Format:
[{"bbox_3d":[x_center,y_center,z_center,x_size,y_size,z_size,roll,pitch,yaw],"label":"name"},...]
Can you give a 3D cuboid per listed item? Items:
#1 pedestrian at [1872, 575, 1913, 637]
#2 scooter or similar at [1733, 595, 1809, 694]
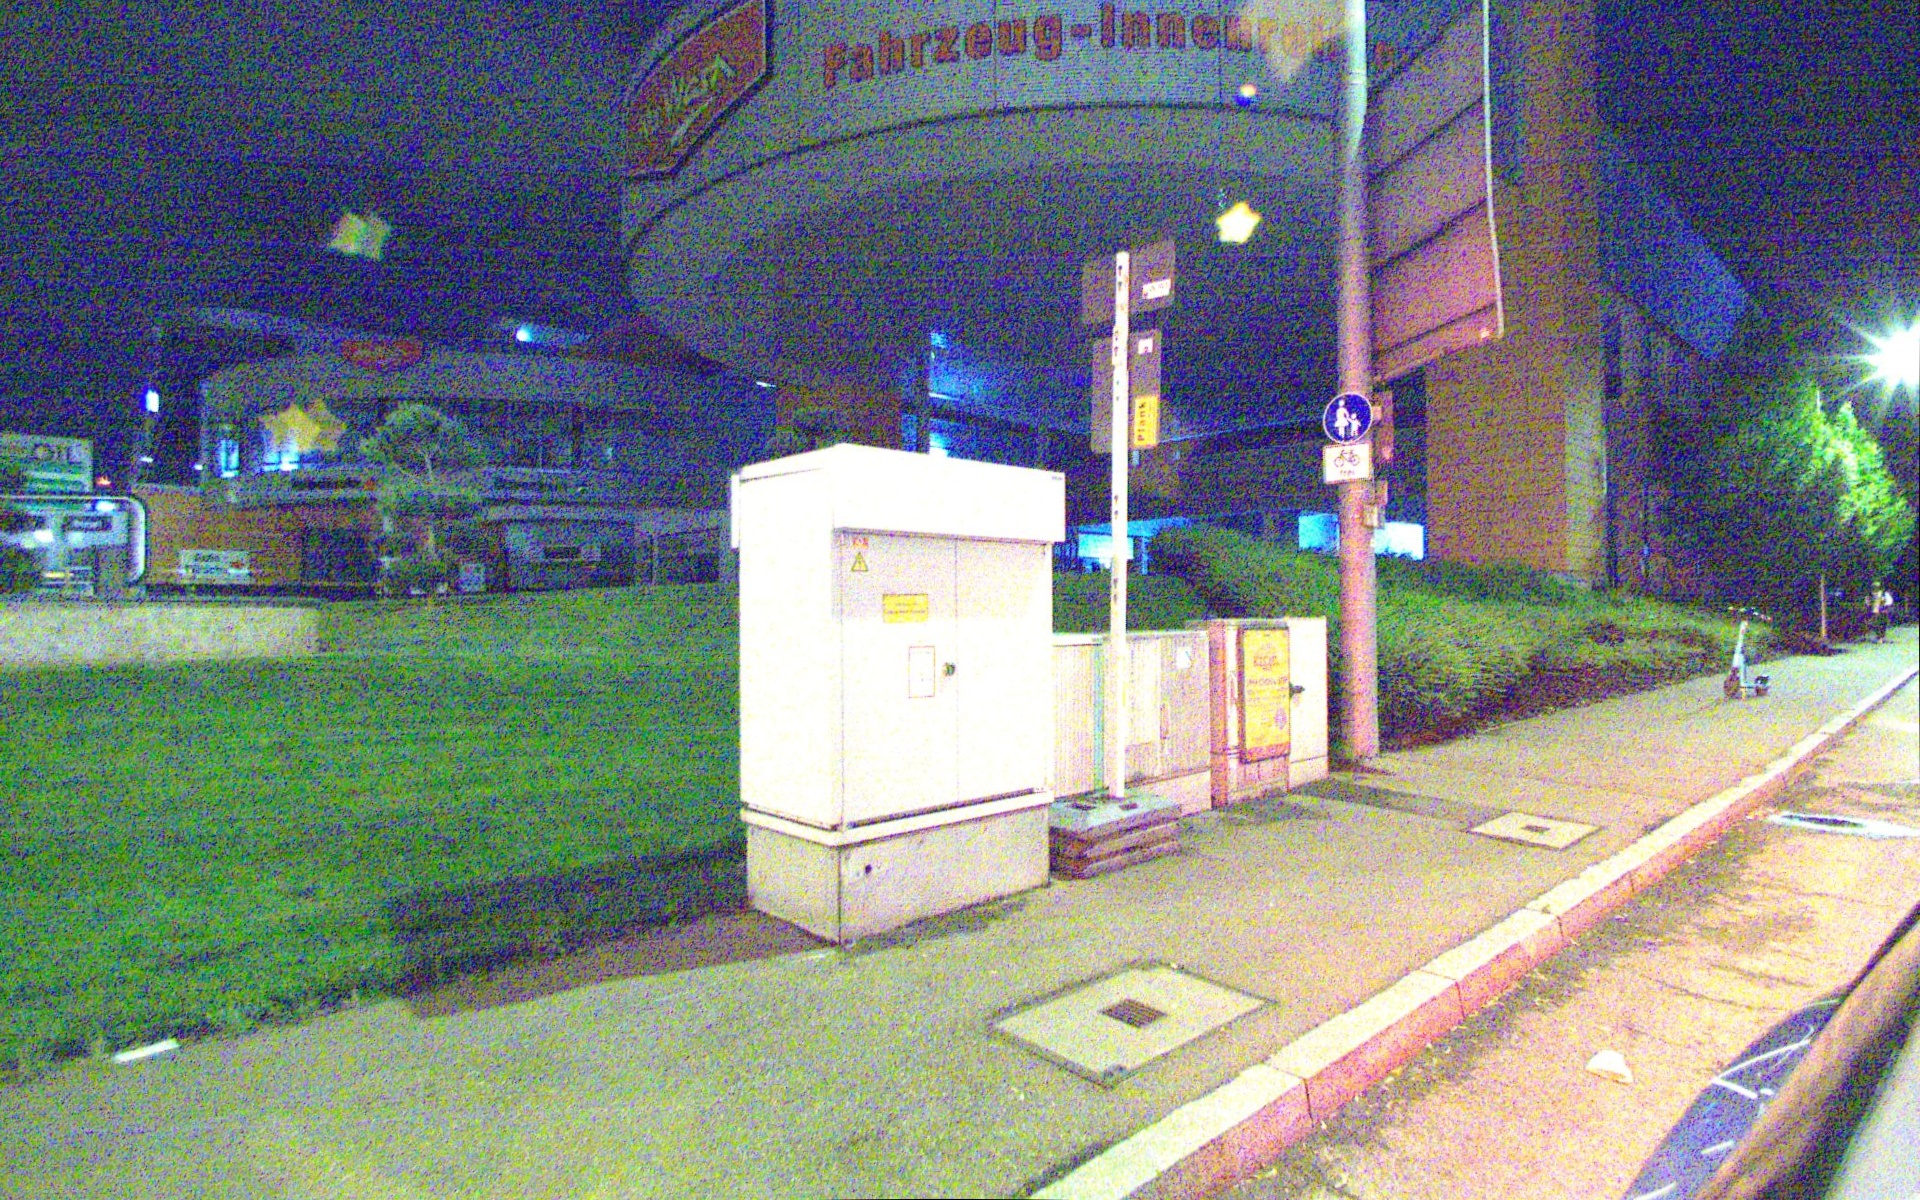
[{"bbox_3d":[28.261,0.166,30.685,0.597,1.842,0.824,-1,0,-40],"label":"pedestrian"},{"bbox_3d":[11.279,0.585,14.059,1.367,1.295,0.569,0,1,-41],"label":"scooter or similar"}]
